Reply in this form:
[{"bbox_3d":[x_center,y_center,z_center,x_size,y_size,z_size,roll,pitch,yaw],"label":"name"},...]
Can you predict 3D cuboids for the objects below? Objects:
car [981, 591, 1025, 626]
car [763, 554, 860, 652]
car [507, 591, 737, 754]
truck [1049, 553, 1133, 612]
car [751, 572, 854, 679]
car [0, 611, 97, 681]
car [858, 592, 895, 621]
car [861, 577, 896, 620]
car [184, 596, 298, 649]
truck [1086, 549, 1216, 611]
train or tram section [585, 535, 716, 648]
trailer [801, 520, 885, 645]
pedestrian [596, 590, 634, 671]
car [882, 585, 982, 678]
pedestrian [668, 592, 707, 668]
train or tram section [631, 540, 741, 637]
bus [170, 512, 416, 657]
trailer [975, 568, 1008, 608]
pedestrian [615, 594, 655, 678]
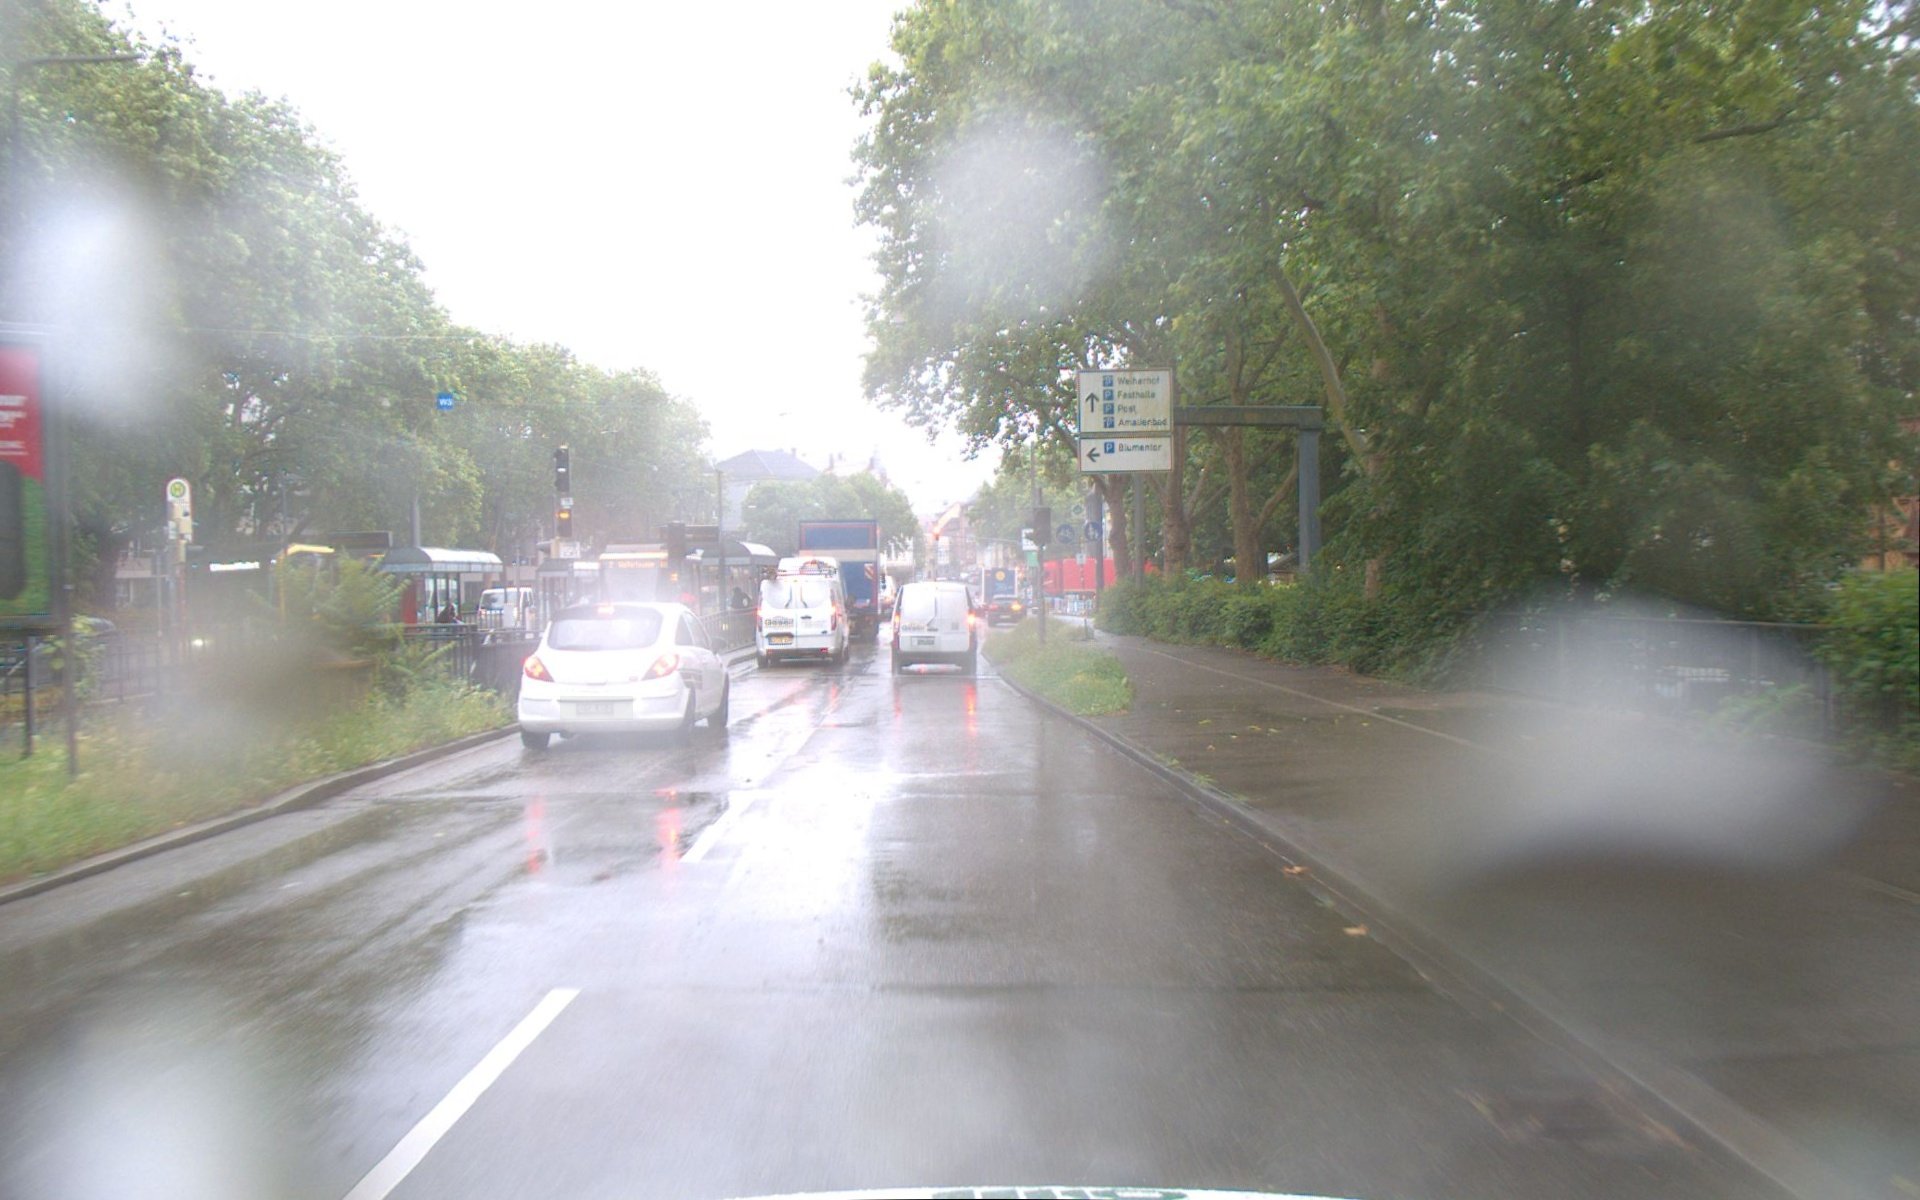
[{"bbox_3d":[2.041,0.385,77.861,1.952,1.569,4.002,-1,0,3],"label":"car"},{"bbox_3d":[-4.144,0.112,47.244,2.282,2.602,6.113,-1,-1,-1],"label":"car"},{"bbox_3d":[-3.420,0.706,17.380,1.690,1.505,3.804,-1,-1,-1],"label":"car"},{"bbox_3d":[11.765,-1.583,148.141,7.004,4.985,3.292,-2,1,9],"label":"truck"},{"bbox_3d":[-3.615,0.587,38.761,1.953,2.302,5.287,-1,-1,-1],"label":"car"},{"bbox_3d":[-22.754,1.105,39.682,1.953,1.544,4.000,-2,0,-1],"label":"car"},{"bbox_3d":[-4.681,0.350,93.536,1.953,1.606,4.291,0,0,-1],"label":"car"},{"bbox_3d":[-4.841,-0.094,99.054,1.953,2.485,4.611,0,0,-1],"label":"car"},{"bbox_3d":[-23.037,0.691,53.138,1.895,1.544,4.000,-2,0,-1],"label":"car"},{"bbox_3d":[17.031,-1.784,147.255,11.121,4.984,3.292,-2,1,9],"label":"truck"},{"bbox_3d":[-10.095,-0.332,54.911,2.902,3.342,8.358,-2,1,-2],"label":"train or tram section"},{"bbox_3d":[-3.890,-0.584,56.412,2.538,3.968,7.633,0,0,-2],"label":"trailer"},{"bbox_3d":[-7.667,0.676,36.769,0.664,1.769,0.807,-1,0,-2],"label":"pedestrian"},{"bbox_3d":[-0.577,0.639,34.038,1.919,1.808,3.568,-1,-1,-1],"label":"car"},{"bbox_3d":[-6.371,0.695,38.672,0.774,1.744,0.770,1,-1,-2],"label":"pedestrian"},{"bbox_3d":[-10.357,-0.477,63.307,2.919,3.342,8.428,-2,1,-2],"label":"train or tram section"},{"bbox_3d":[-20.006,-0.394,50.751,2.968,3.906,12.240,0,0,-2],"label":"bus"},{"bbox_3d":[1.902,-0.688,101.341,1.953,2.357,4.668,-1,-1,0],"label":"trailer"},{"bbox_3d":[-6.961,0.760,35.457,0.701,1.775,0.750,-1,0,-2],"label":"pedestrian"}]
